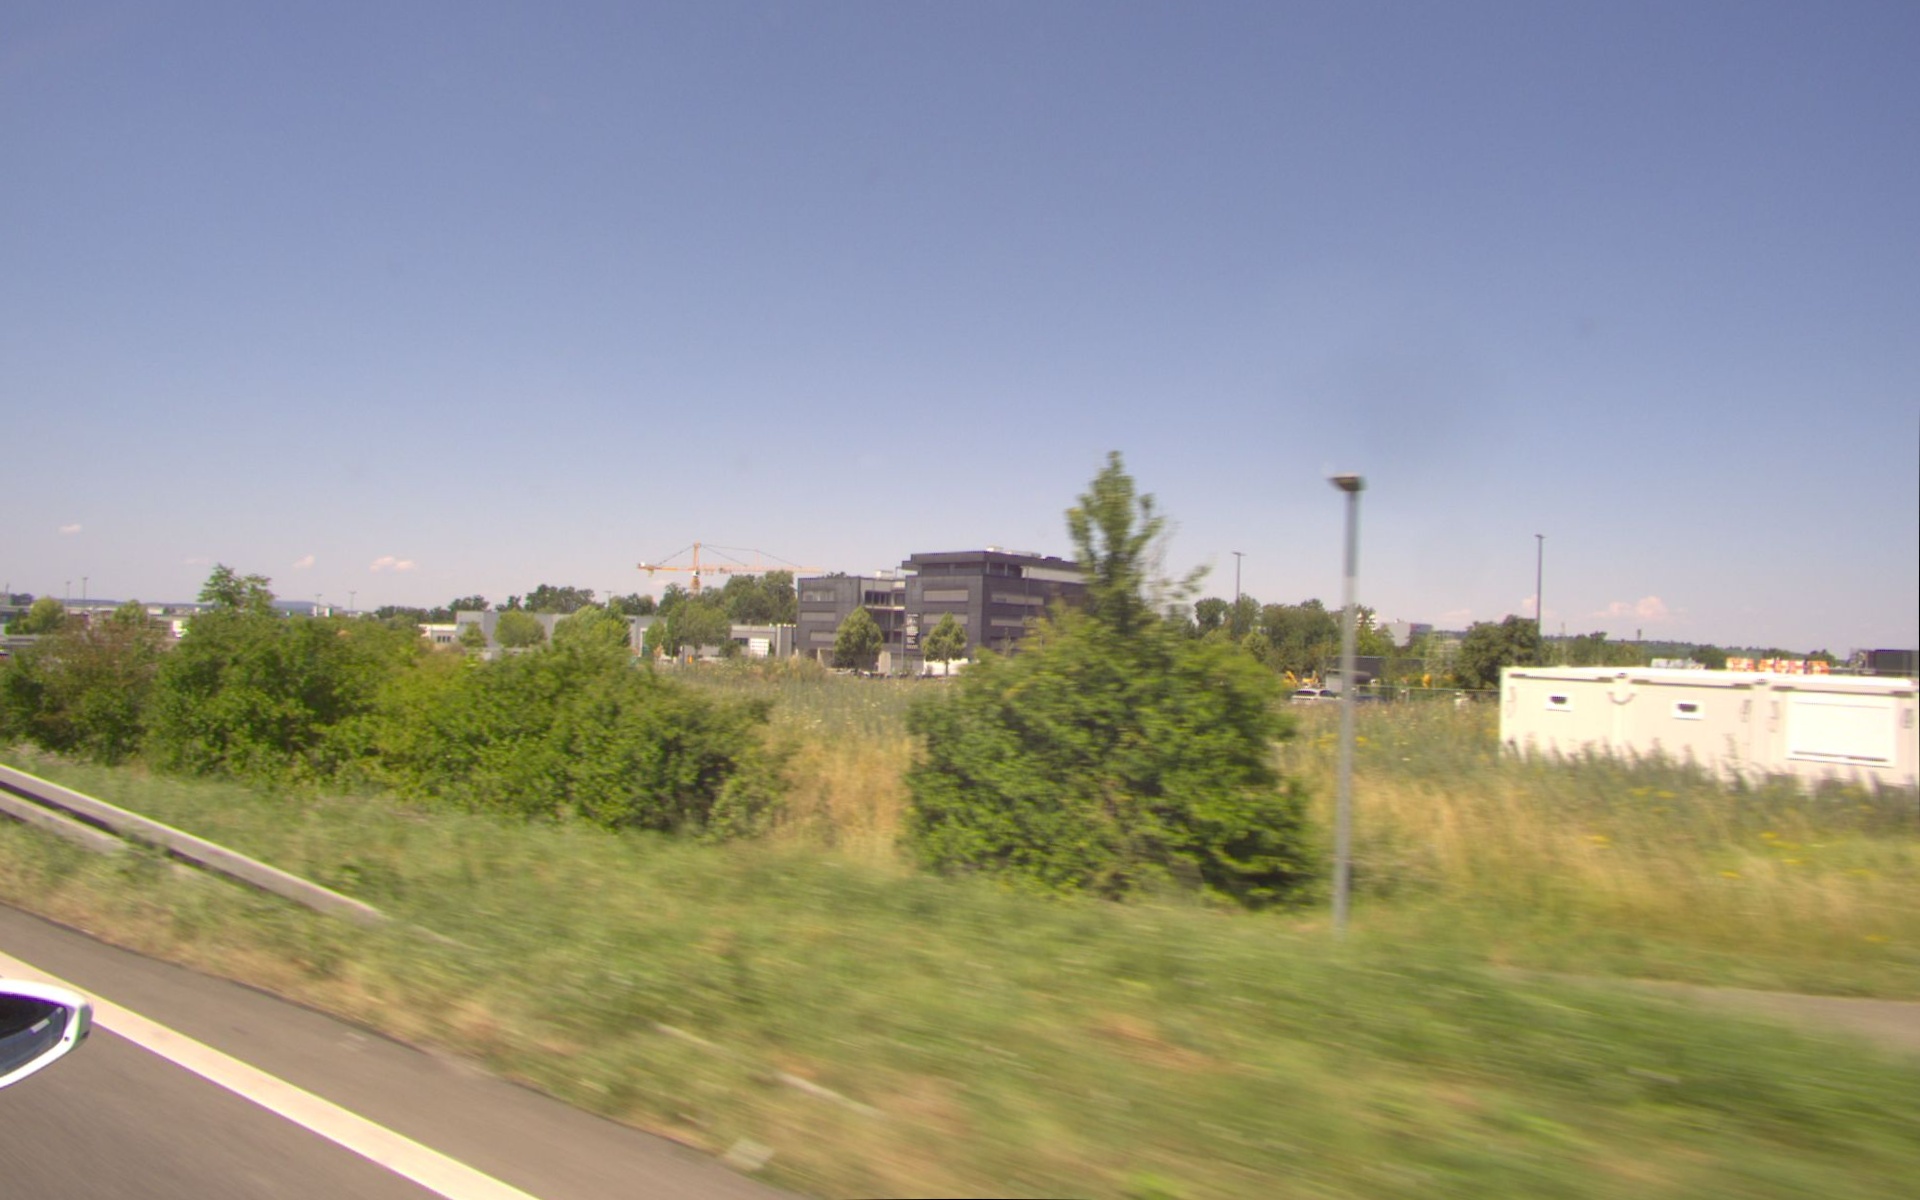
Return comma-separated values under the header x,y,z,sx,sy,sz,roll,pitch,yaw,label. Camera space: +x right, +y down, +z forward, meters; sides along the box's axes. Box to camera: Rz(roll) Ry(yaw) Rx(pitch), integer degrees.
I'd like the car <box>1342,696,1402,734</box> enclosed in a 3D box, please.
x,y,z,sx,sy,sz,roll,pitch,yaw,label
24.772,6.874,60.146,1.979,2.039,3.966,1,-3,44,car

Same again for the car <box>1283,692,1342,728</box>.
x,y,z,sx,sy,sz,roll,pitch,yaw,label
22.094,6.860,62.689,1.979,2.039,3.966,1,-3,44,car

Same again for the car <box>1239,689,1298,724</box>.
x,y,z,sx,sy,sz,roll,pitch,yaw,label
20.029,6.863,64.946,1.979,2.039,3.966,1,-3,44,car
